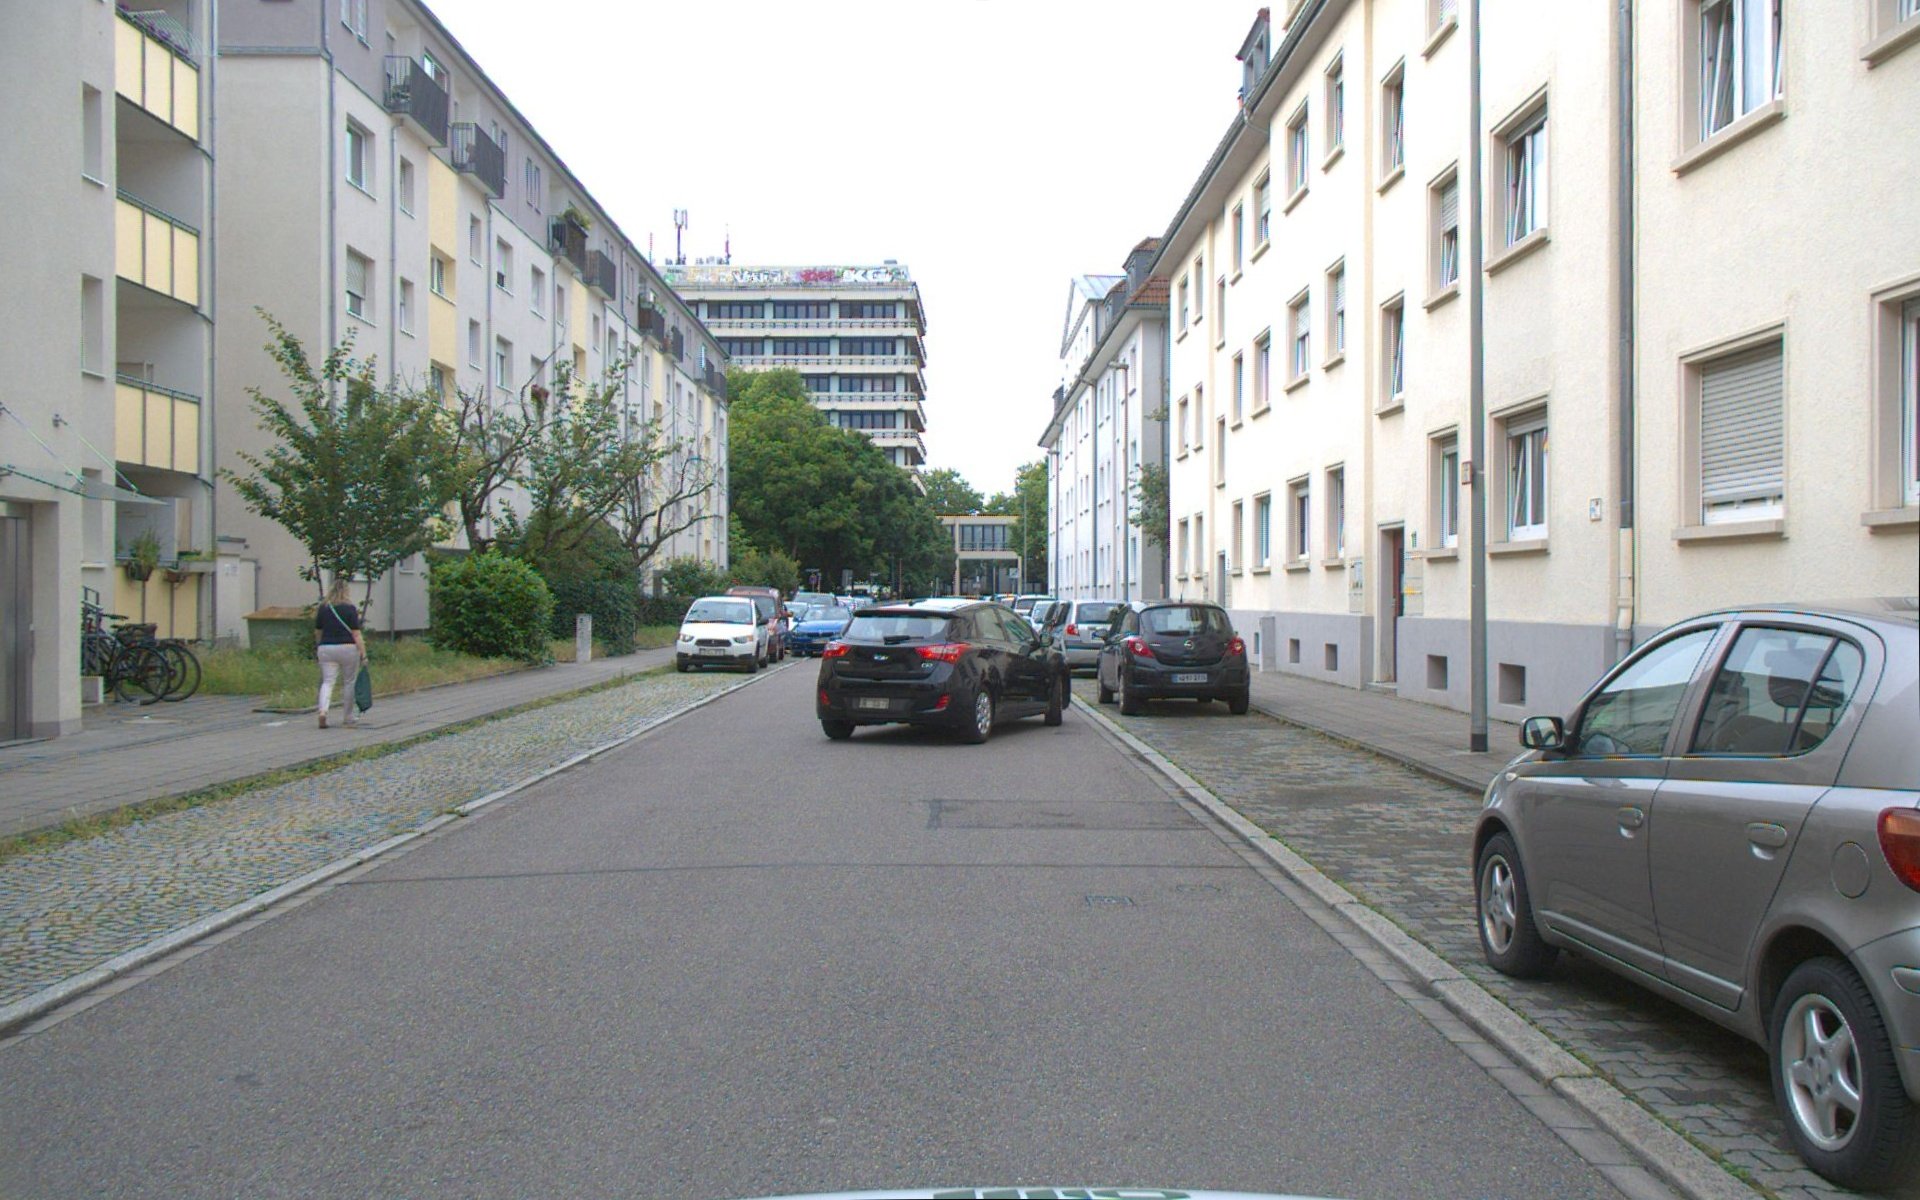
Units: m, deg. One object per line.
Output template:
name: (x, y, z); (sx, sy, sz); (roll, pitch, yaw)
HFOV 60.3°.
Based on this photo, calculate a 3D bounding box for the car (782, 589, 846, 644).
car: (-5.079, 0.554, 58.057); (1.856, 1.770, 4.474); (2, 0, -1)

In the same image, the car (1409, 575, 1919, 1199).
car: (3.045, 0.706, 5.845); (1.690, 1.544, 4.059); (0, 0, -2)

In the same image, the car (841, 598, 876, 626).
car: (-5.889, 0.667, 96.312); (1.954, 1.568, 3.998); (1, 0, -3)

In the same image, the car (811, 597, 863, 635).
car: (-5.144, 0.664, 69.525); (1.856, 1.477, 4.520); (2, 0, -1)

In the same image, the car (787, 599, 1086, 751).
car: (-0.113, 0.731, 18.300); (1.864, 1.458, 4.233); (0, 0, 21)

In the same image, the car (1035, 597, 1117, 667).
car: (2.619, 0.701, 38.130); (1.570, 1.502, 3.868); (1, 0, -1)

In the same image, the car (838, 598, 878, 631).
car: (-5.161, 0.713, 84.023); (1.954, 1.568, 3.998); (1, 0, -3)

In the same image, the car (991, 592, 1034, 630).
car: (2.318, 0.457, 73.285); (1.783, 1.631, 4.091); (0, 0, 0)

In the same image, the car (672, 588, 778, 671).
car: (-4.905, 0.595, 34.937); (1.685, 1.597, 3.869); (2, 0, -1)

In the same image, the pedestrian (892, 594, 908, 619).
pedestrian: (-4.028, 0.464, 111.510); (0.951, 1.683, 0.981); (0, 0, 3)

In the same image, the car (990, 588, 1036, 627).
car: (2.175, 0.282, 68.422); (1.783, 1.529, 4.091); (-1, 0, 0)

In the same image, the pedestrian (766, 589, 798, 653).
pedestrian: (-4.963, 0.580, 46.007); (0.729, 1.731, 0.792); (-1, 0, -18)

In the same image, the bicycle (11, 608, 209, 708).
bicycle: (-10.108, 0.680, 19.730); (1.986, 1.161, 0.621); (0, 0, -11)

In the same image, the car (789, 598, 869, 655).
car: (-3.596, 0.704, 46.001); (1.807, 1.476, 4.501); (1, 0, 0)

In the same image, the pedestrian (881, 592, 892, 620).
pedestrian: (-4.978, 0.391, 111.564); (0.699, 1.863, 0.797); (0, 0, 1)

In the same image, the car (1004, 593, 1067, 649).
car: (2.349, 0.627, 52.297); (1.783, 1.671, 4.091); (1, 0, 0)

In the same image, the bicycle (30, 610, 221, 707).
bicycle: (-10.236, 0.704, 20.351); (1.986, 1.161, 0.621); (0, 0, -11)

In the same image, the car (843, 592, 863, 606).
car: (-9.970, -0.099, 154.472); (1.632, 1.356, 3.395); (0, 0, -1)

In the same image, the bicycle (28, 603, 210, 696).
bicycle: (-10.762, 0.627, 21.215); (1.983, 1.161, 0.623); (0, 0, -4)

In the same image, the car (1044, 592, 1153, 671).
car: (2.703, 0.583, 33.007); (1.811, 1.475, 3.832); (-1, 0, -1)

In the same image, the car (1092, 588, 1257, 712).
car: (2.853, 0.620, 22.784); (1.690, 1.544, 4.060); (0, 0, -1)

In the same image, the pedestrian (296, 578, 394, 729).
pedestrian: (-6.836, 0.578, 18.437); (0.784, 1.638, 0.946); (0, 0, -5)

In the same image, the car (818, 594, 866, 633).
car: (-5.362, 0.602, 75.693); (1.856, 1.626, 4.520); (2, 0, -1)

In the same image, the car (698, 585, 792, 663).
car: (-5.252, 0.562, 40.849); (1.917, 1.801, 4.359); (1, 0, -3)

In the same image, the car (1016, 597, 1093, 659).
car: (2.412, 0.690, 43.141); (1.690, 1.502, 4.504); (1, 0, 0)
